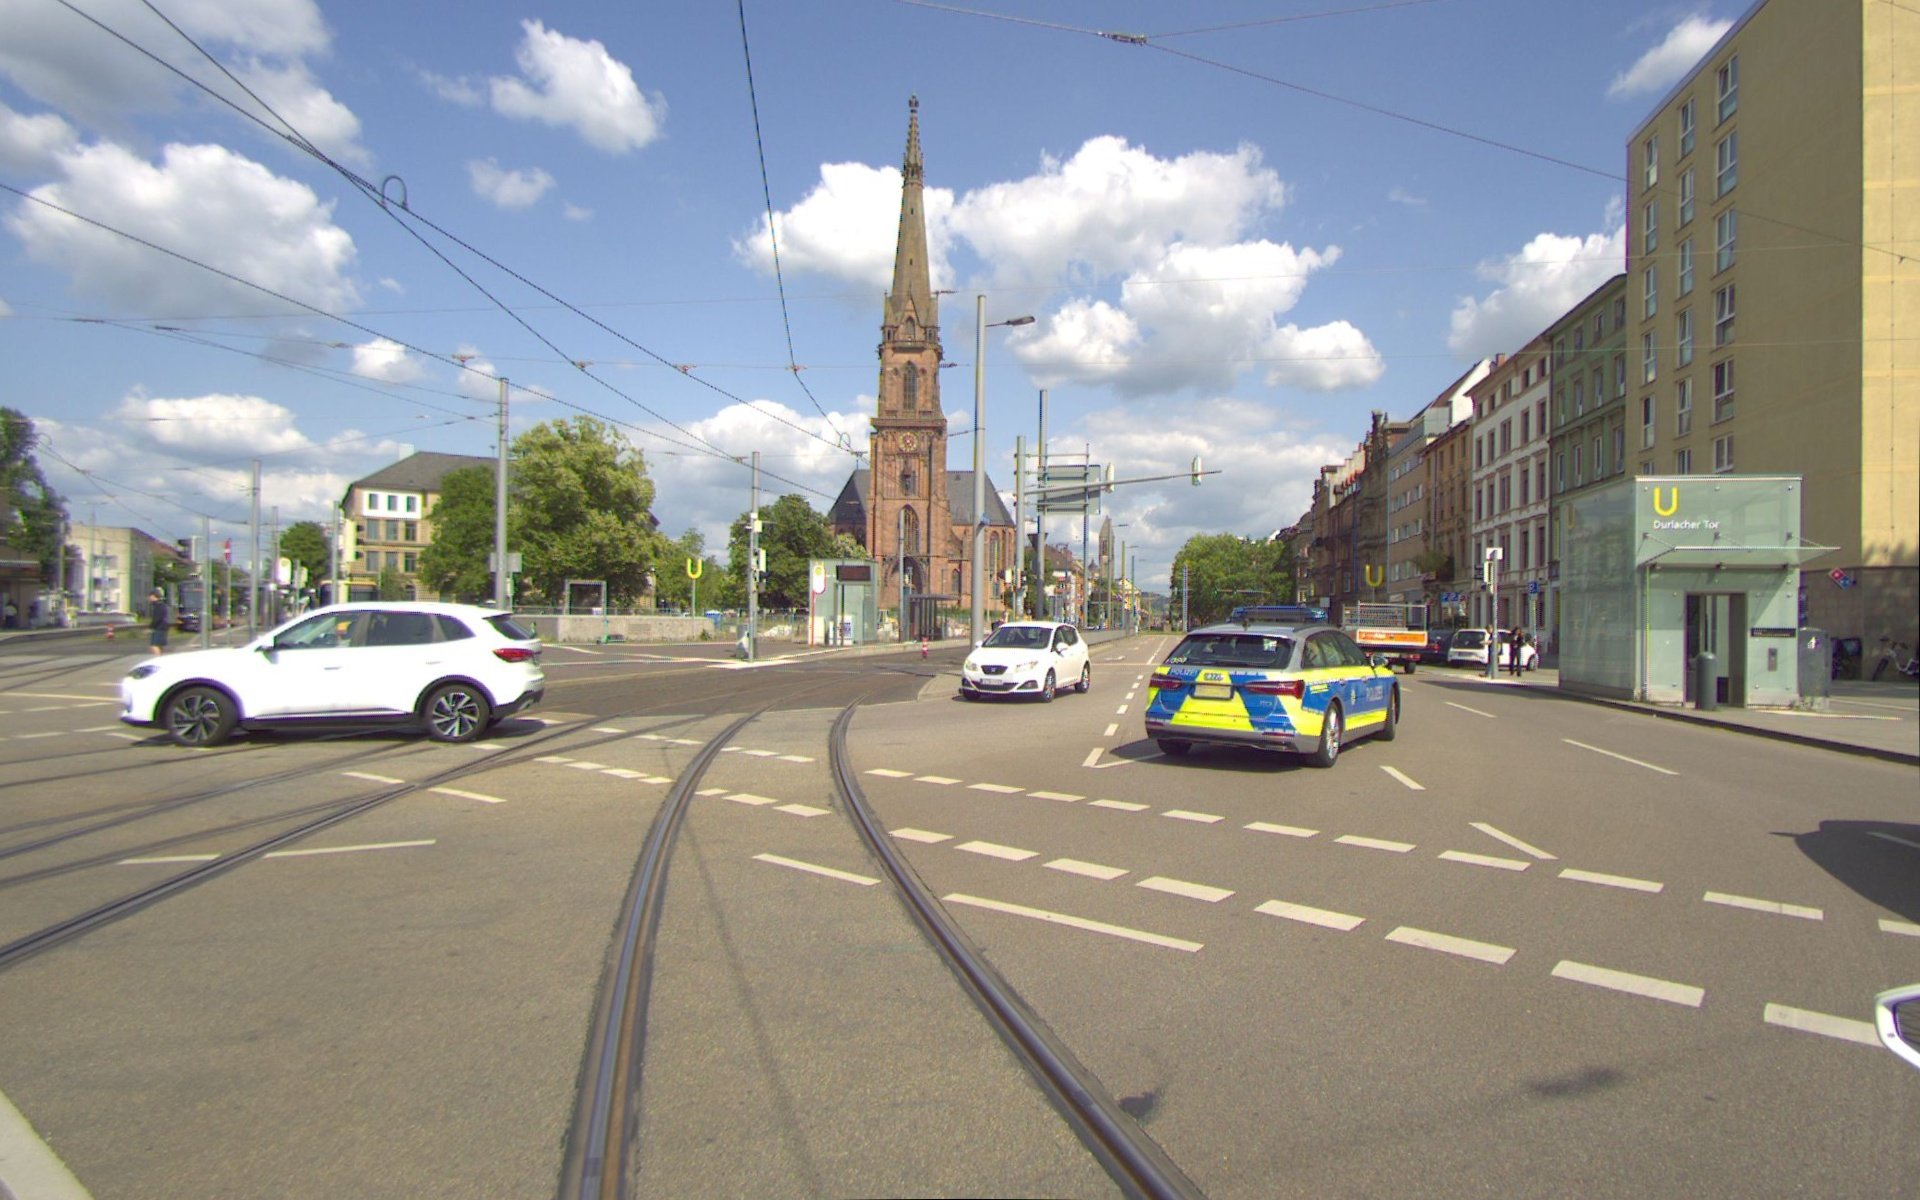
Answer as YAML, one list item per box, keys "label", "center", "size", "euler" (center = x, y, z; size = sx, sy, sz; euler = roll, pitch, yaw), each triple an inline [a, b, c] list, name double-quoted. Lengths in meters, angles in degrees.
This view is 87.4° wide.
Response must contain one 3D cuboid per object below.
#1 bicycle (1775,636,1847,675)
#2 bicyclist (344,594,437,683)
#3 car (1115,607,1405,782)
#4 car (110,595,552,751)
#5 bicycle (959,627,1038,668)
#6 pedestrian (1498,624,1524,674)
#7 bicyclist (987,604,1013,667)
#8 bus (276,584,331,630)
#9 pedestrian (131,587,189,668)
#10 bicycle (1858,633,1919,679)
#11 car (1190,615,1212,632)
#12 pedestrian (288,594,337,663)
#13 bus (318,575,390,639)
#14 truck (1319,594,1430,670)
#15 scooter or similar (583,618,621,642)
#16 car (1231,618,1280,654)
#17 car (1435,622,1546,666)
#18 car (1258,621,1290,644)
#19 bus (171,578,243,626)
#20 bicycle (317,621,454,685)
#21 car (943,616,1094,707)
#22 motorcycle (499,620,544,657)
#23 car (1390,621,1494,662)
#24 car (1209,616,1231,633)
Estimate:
- label: "bicycle"
  center: [25.936, 1.677, 30.642]
  size: [0.780, 1.118, 1.811]
  euler: [1, 0, 6]
- label: "bicyclist"
  center: [-11.655, 0.774, 20.597]
  size: [0.976, 1.754, 1.301]
  euler: [1, -1, 22]
- label: "car"
  center: [3.662, 0.908, 11.609]
  size: [1.855, 1.589, 4.600]
  euler: [0, -1, 35]
- label: "car"
  center: [-7.377, 0.829, 12.369]
  size: [4.222, 1.661, 2.034]
  euler: [1, -1, -19]
- label: "bicycle"
  center: [1.166, 1.421, 30.261]
  size: [2.309, 1.153, 0.890]
  euler: [1, 1, 6]
- label: "pedestrian"
  center: [17.412, 1.535, 31.750]
  size: [0.544, 1.554, 0.700]
  euler: [1, -1, 15]
- label: "bicyclist"
  center: [1.209, 1.057, 30.214]
  size: [0.696, 1.822, 0.780]
  euler: [1, 1, 7]
- label: "bus"
  center: [-58.374, 0.748, 89.665]
  size: [3.569, 3.680, 18.708]
  euler: [1, -1, -32]
- label: "pedestrian"
  center: [-19.497, 0.663, 24.498]
  size: [0.811, 1.928, 0.766]
  euler: [0, 1, -6]
- label: "bicycle"
  center: [27.189, 1.618, 28.928]
  size: [1.774, 1.275, 0.796]
  euler: [0, 0, 21]
- label: "car"
  center: [24.186, 2.343, 100.685]
  size: [2.005, 1.599, 4.541]
  euler: [1, 0, 15]
- label: "pedestrian"
  center: [-17.597, 0.765, 27.313]
  size: [1.010, 1.822, 0.765]
  euler: [1, 2, 32]
- label: "bus"
  center: [-34.018, 0.421, 56.115]
  size: [2.805, 3.178, 12.718]
  euler: [1, -1, -34]
- label: "truck"
  center: [13.209, 0.987, 32.434]
  size: [2.299, 2.184, 5.855]
  euler: [1, -1, 12]
- label: "scooter or similar"
  center: [-17.697, 1.468, 49.639]
  size: [1.627, 1.120, 0.845]
  euler: [0, 1, -32]
- label: "car"
  center: [13.204, 1.582, 45.096]
  size: [1.816, 1.494, 4.003]
  euler: [0, -1, 12]
- label: "car"
  center: [19.656, 1.640, 37.218]
  size: [3.855, 1.516, 1.884]
  euler: [2, 0, -31]
- label: "car"
  center: [21.469, 2.210, 68.757]
  size: [1.707, 1.395, 4.002]
  euler: [1, 0, 12]
- label: "bus"
  center: [-57.650, 0.259, 77.381]
  size: [3.442, 3.226, 23.547]
  euler: [1, -1, -35]
- label: "bicycle"
  center: [-11.693, 1.049, 20.555]
  size: [0.976, 1.204, 2.300]
  euler: [1, -1, 22]
- label: "car"
  center: [1.261, 1.102, 19.636]
  size: [1.960, 1.548, 4.094]
  euler: [0, -1, 18]
- label: "motorcycle"
  center: [-15.455, 1.359, 35.411]
  size: [0.475, 1.253, 1.445]
  euler: [1, -1, 27]
- label: "car"
  center: [19.084, 1.641, 39.745]
  size: [3.856, 1.516, 1.884]
  euler: [2, 0, -32]
- label: "car"
  center: [22.091, 2.071, 85.523]
  size: [1.707, 1.395, 4.002]
  euler: [1, 0, 13]
